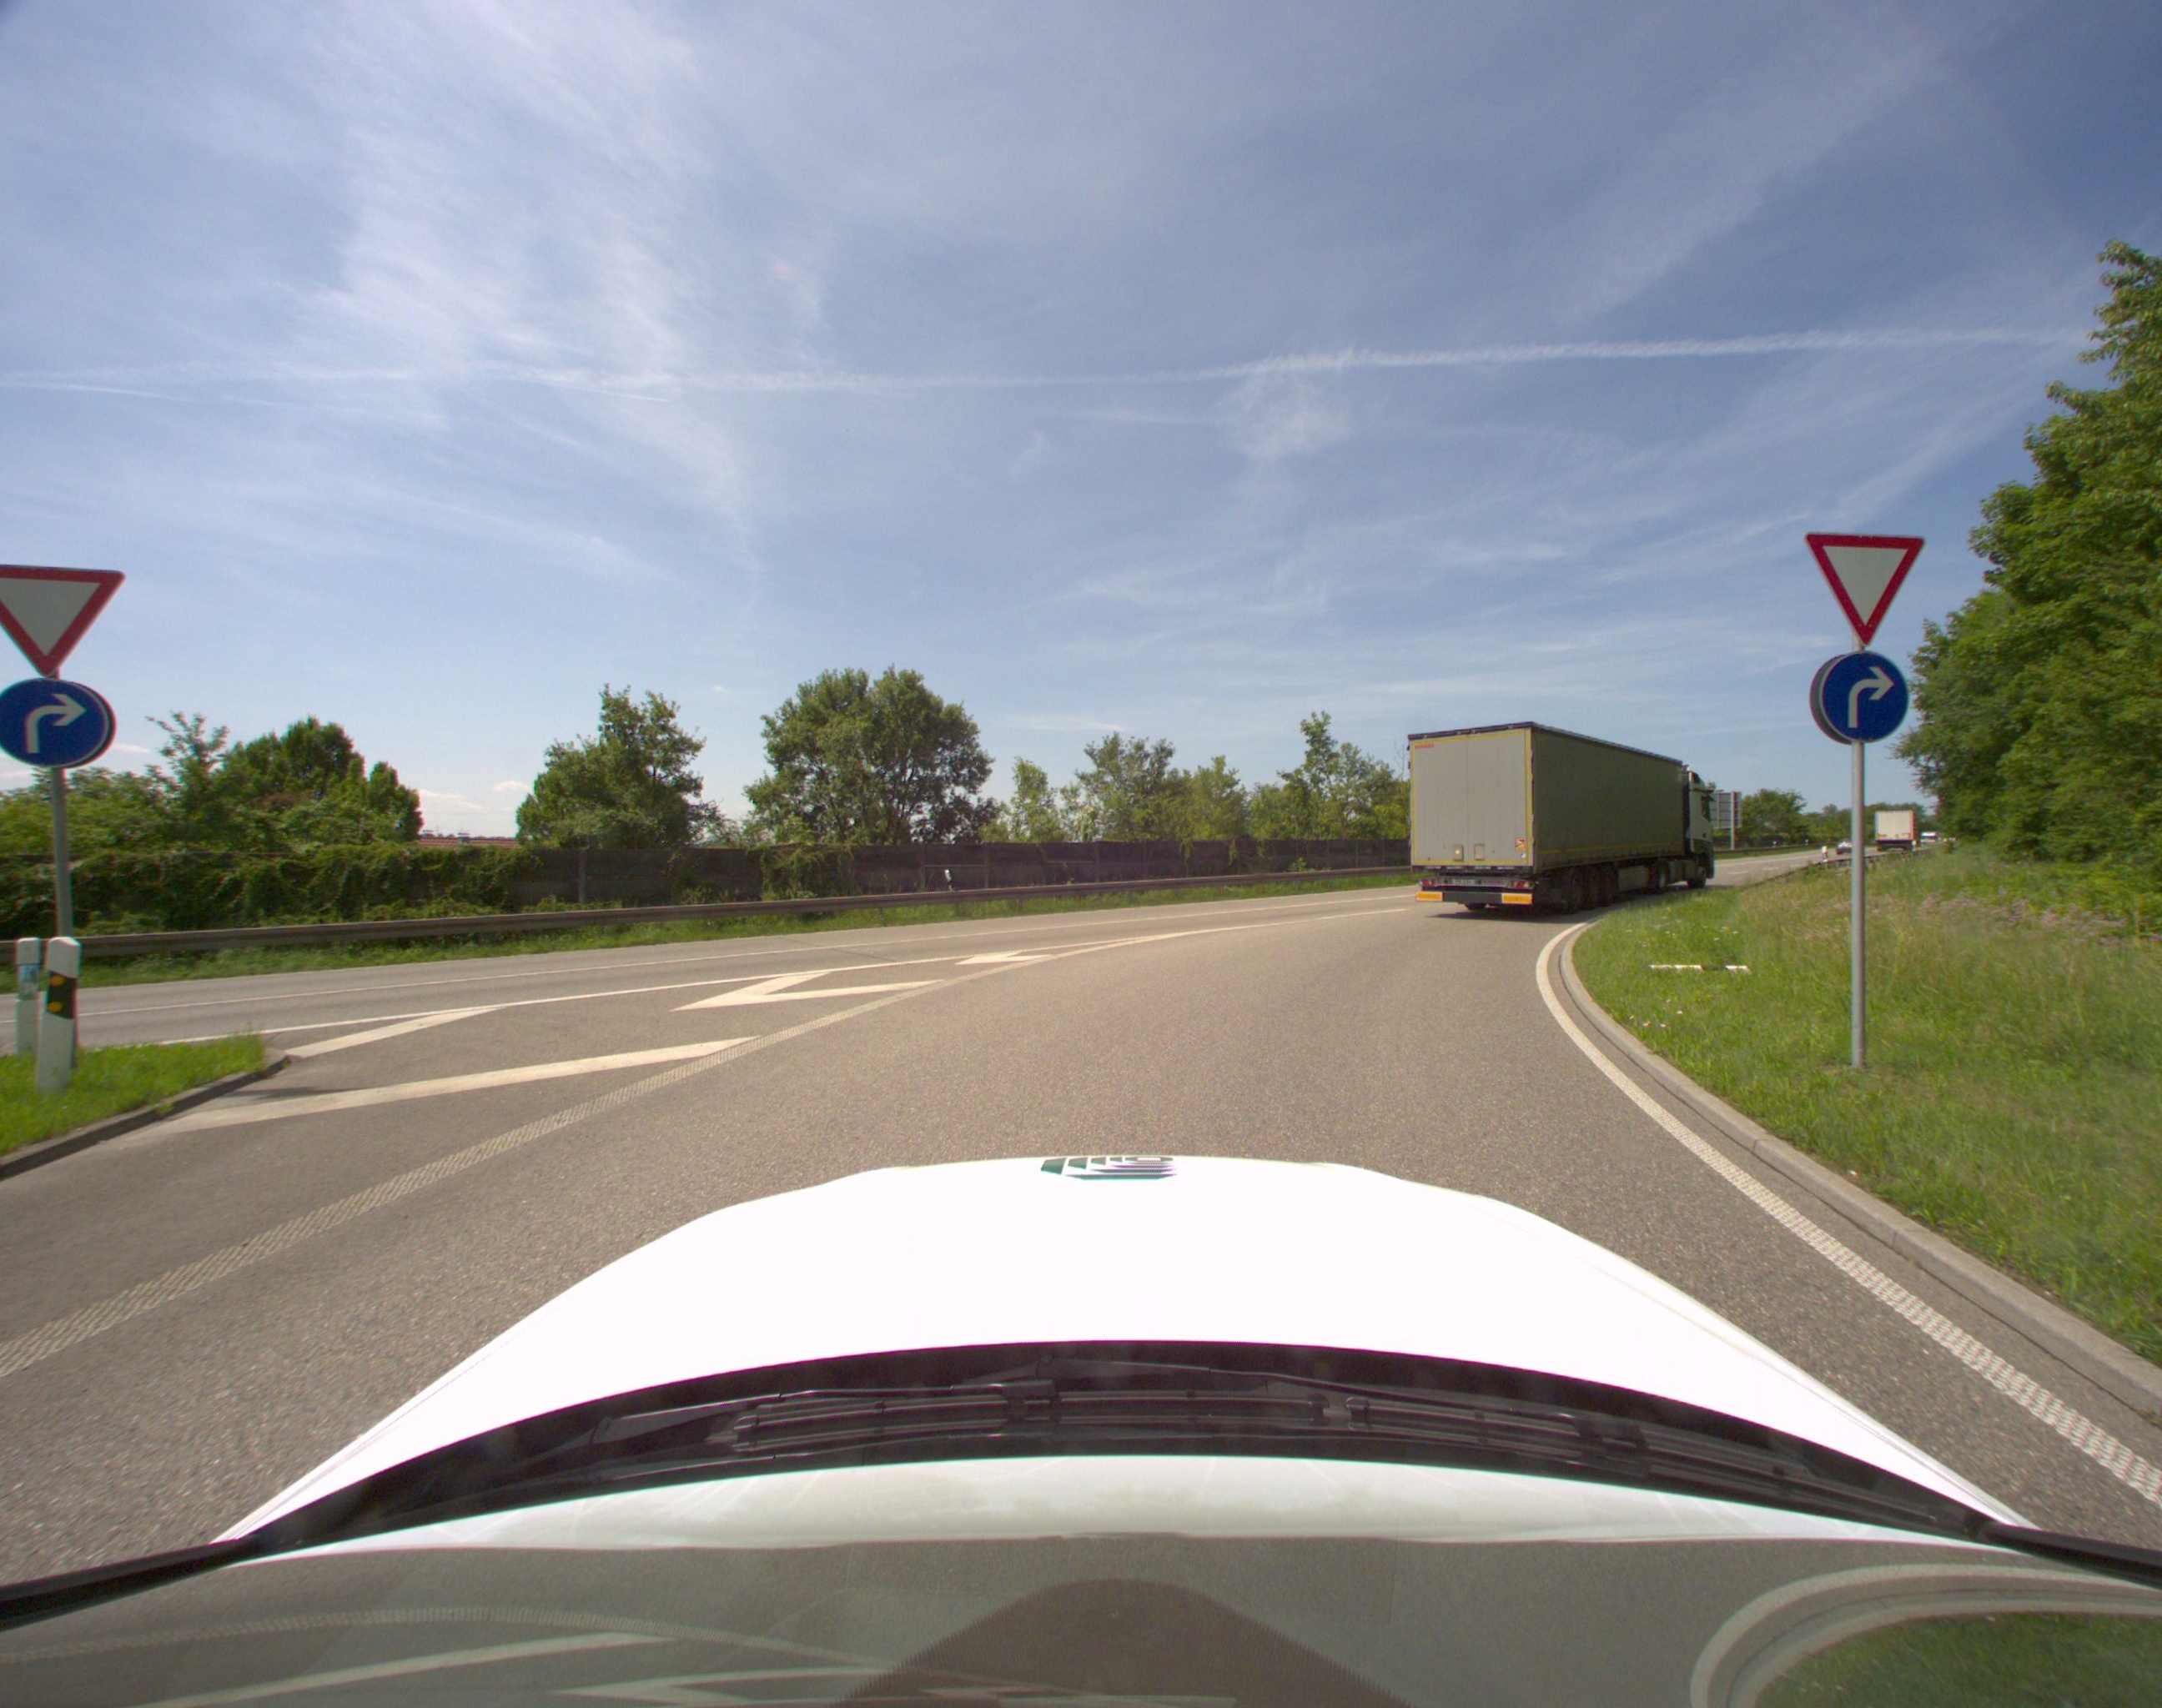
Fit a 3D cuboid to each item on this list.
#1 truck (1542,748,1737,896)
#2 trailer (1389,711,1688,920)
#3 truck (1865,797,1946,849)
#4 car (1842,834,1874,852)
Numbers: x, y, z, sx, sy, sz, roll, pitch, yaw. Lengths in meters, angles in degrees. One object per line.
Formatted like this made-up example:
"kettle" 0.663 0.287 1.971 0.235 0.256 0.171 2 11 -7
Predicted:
"truck" 18.372 -0.895 26.629 7.155 4.225 3.127 0 -1 -37
"trailer" 12.665 -0.771 21.386 13.427 4.034 3.000 -1 -1 -44
"truck" 83.826 -3.023 82.603 16.280 4.744 3.797 -1 0 -38
"car" 68.383 -0.955 71.651 4.021 1.486 1.652 -1 1 -40
